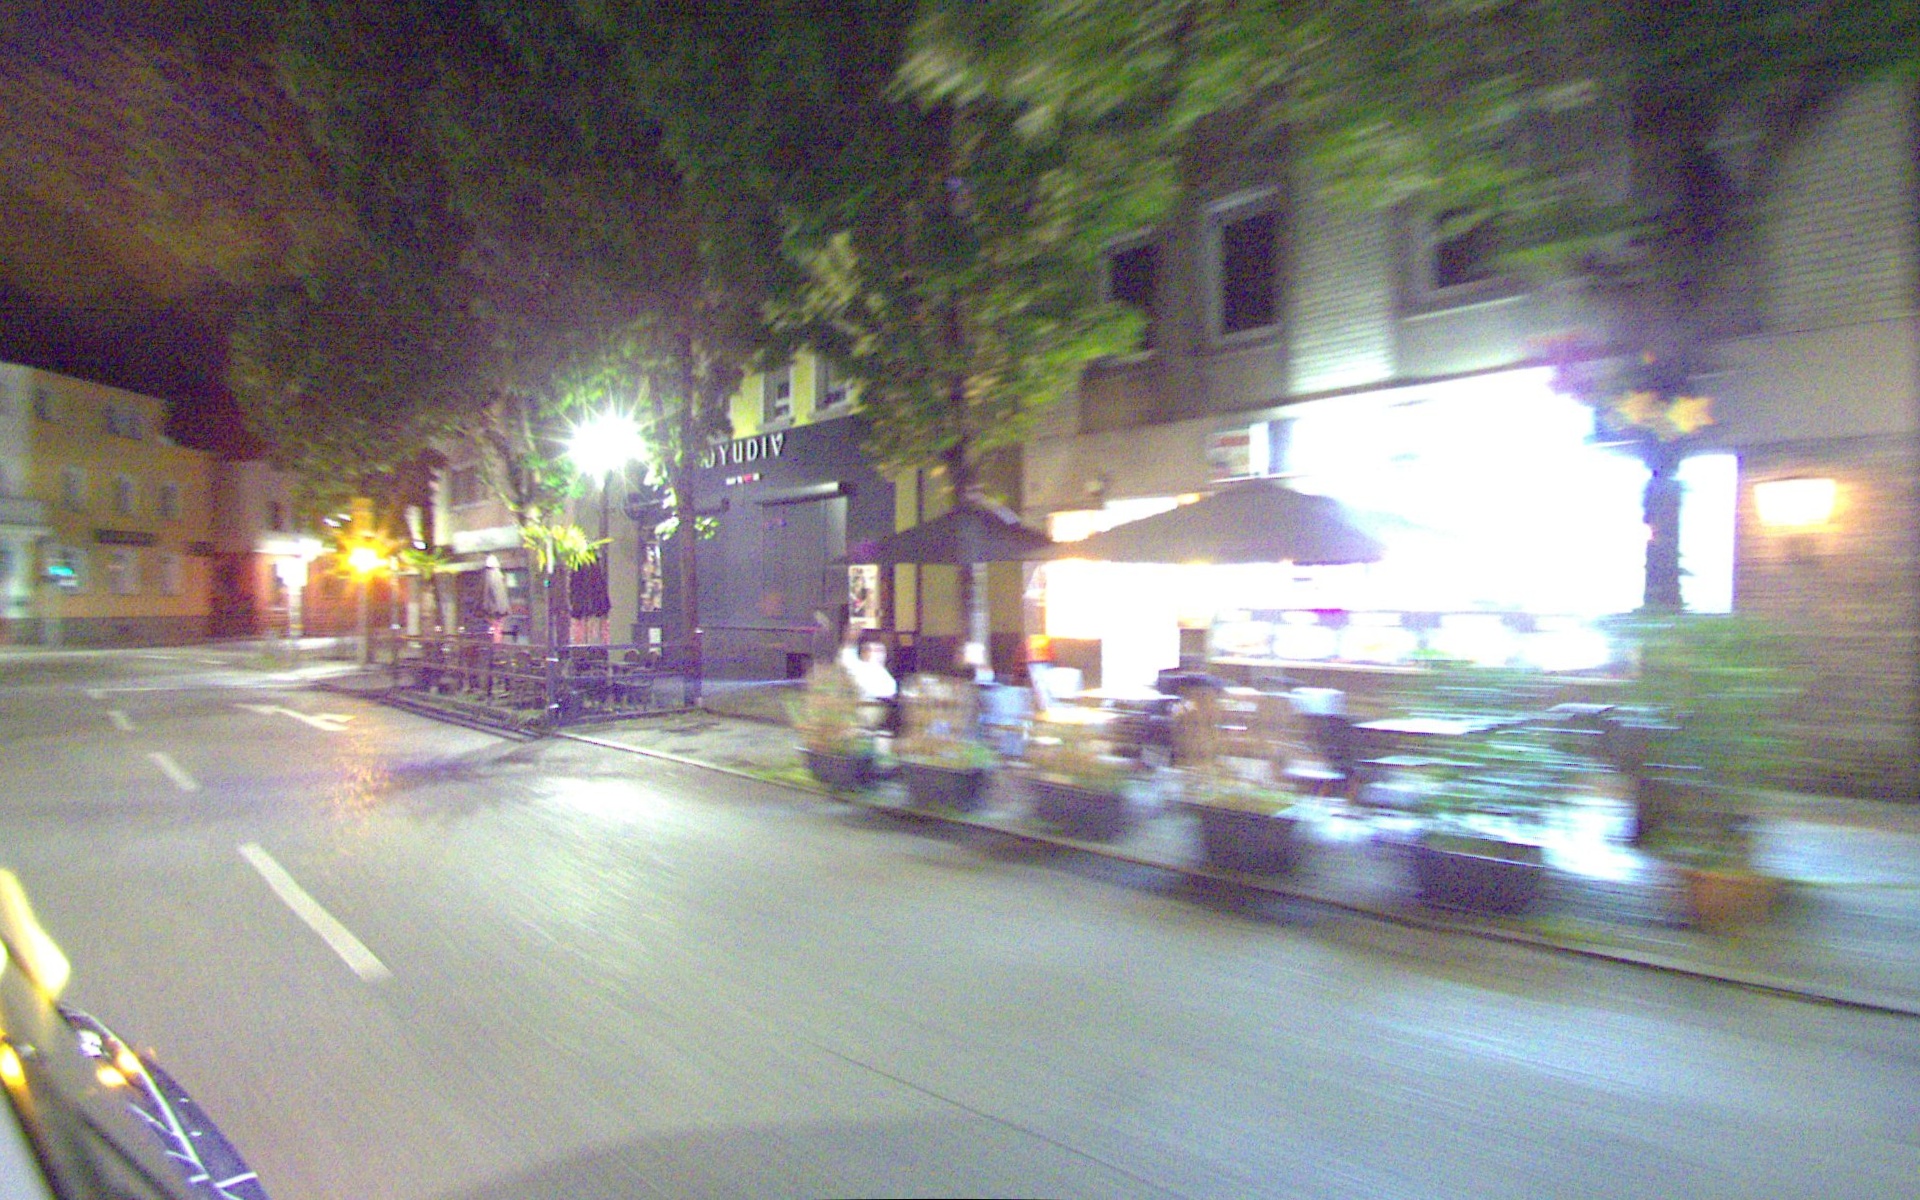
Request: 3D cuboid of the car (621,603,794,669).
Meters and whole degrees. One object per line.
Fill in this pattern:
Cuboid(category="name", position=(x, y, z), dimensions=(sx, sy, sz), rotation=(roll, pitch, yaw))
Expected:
Cuboid(category="car", position=(-6.390, 0.872, 25.858), dimensions=(3.940, 1.538, 1.821), rotation=(0, -1, -44))

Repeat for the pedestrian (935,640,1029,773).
Cuboid(category="pedestrian", position=(0.204, 0.973, 9.543), dimensions=(0.678, 1.173, 0.568), rotation=(-1, -1, 41))

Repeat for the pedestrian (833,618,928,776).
Cuboid(category="pedestrian", position=(-0.736, 0.869, 9.422), dimensions=(0.576, 1.388, 0.669), rotation=(-1, -1, 41))
